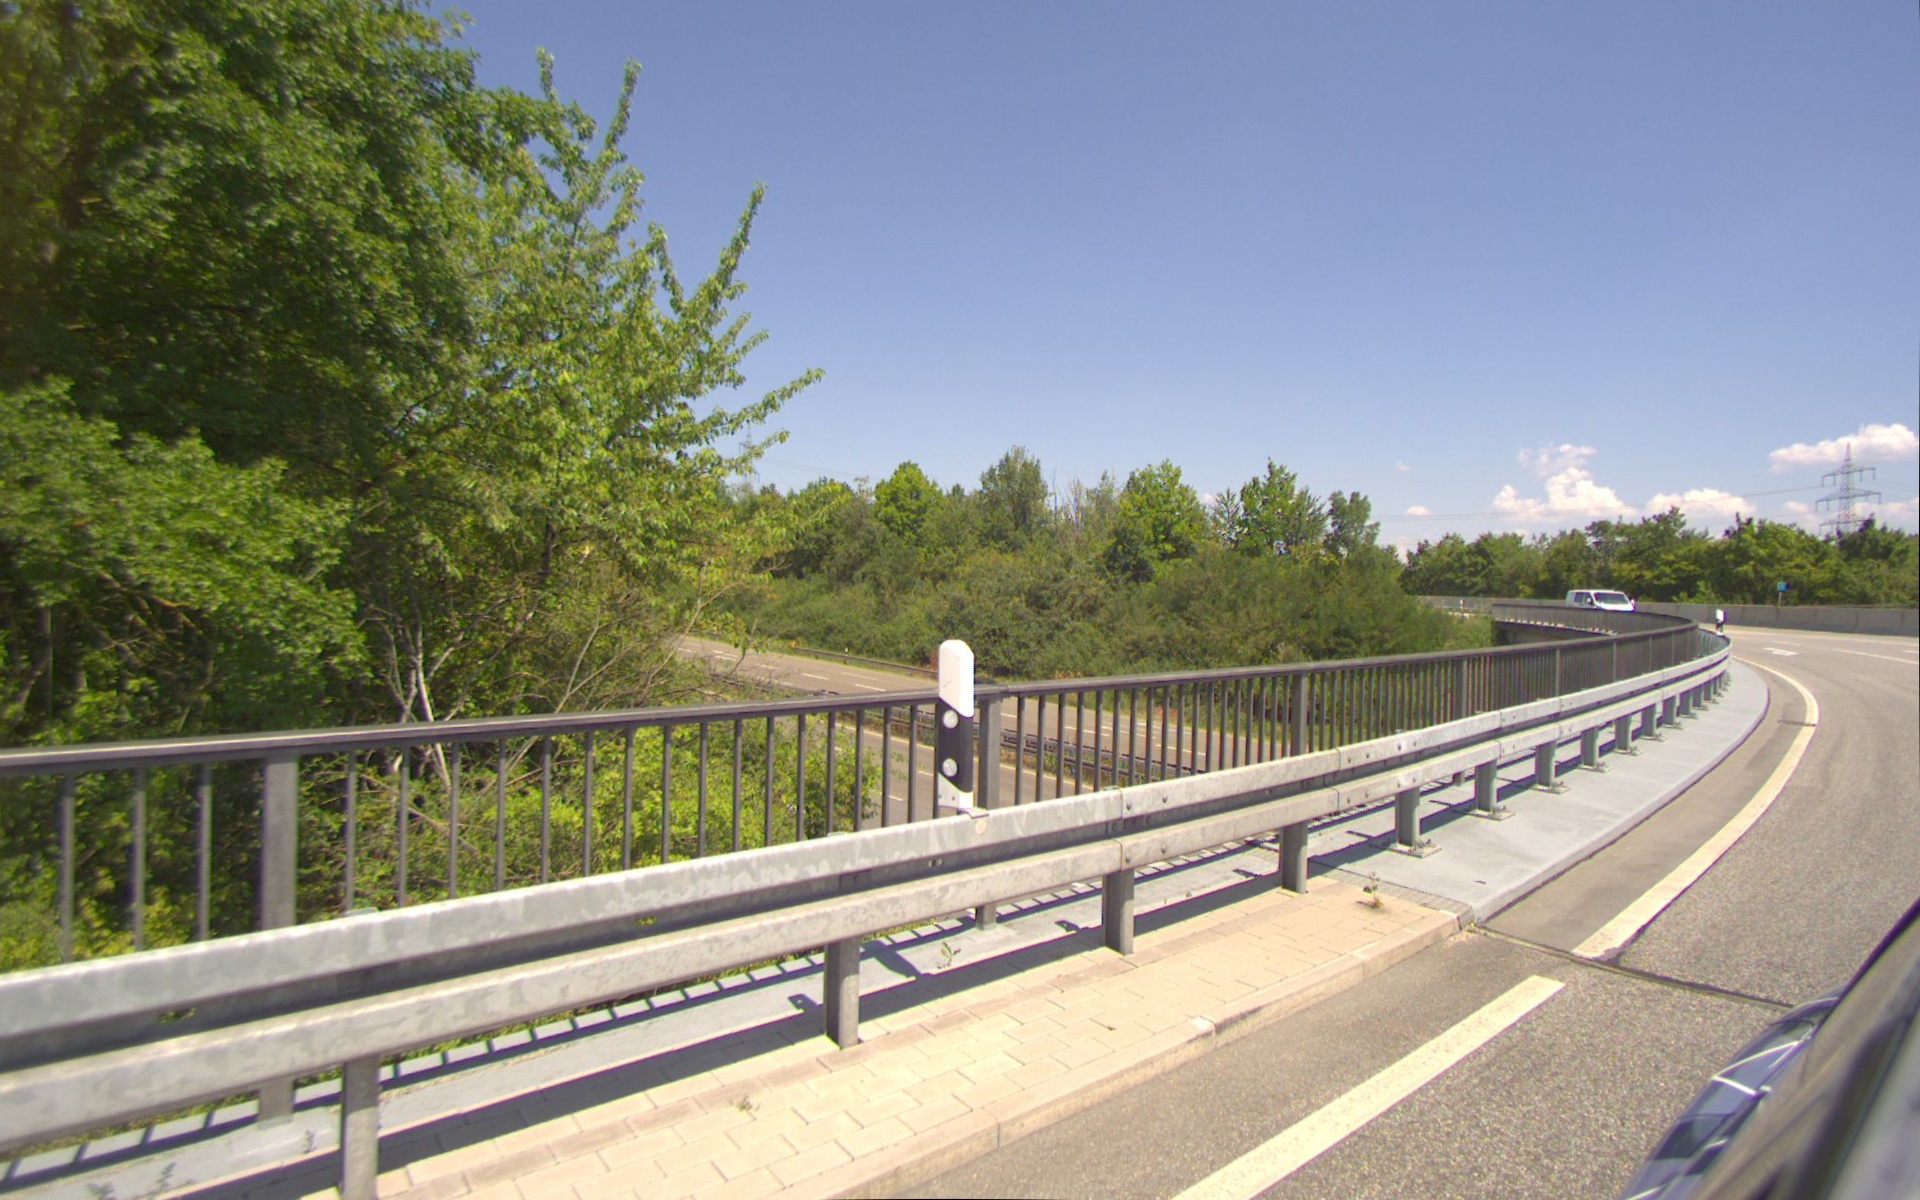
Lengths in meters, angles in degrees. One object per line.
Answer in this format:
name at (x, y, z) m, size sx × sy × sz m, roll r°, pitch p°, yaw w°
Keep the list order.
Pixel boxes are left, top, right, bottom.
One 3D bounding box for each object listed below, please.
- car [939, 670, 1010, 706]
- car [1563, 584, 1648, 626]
car at (0.819, 5.073, 58.888) m, size 1.967 × 1.636 × 3.991 m, roll 0°, pitch 2°, yaw -44°
car at (34.786, 0.183, 54.717) m, size 2.001 × 2.110 × 5.849 m, roll 1°, pitch 1°, yaw 13°
